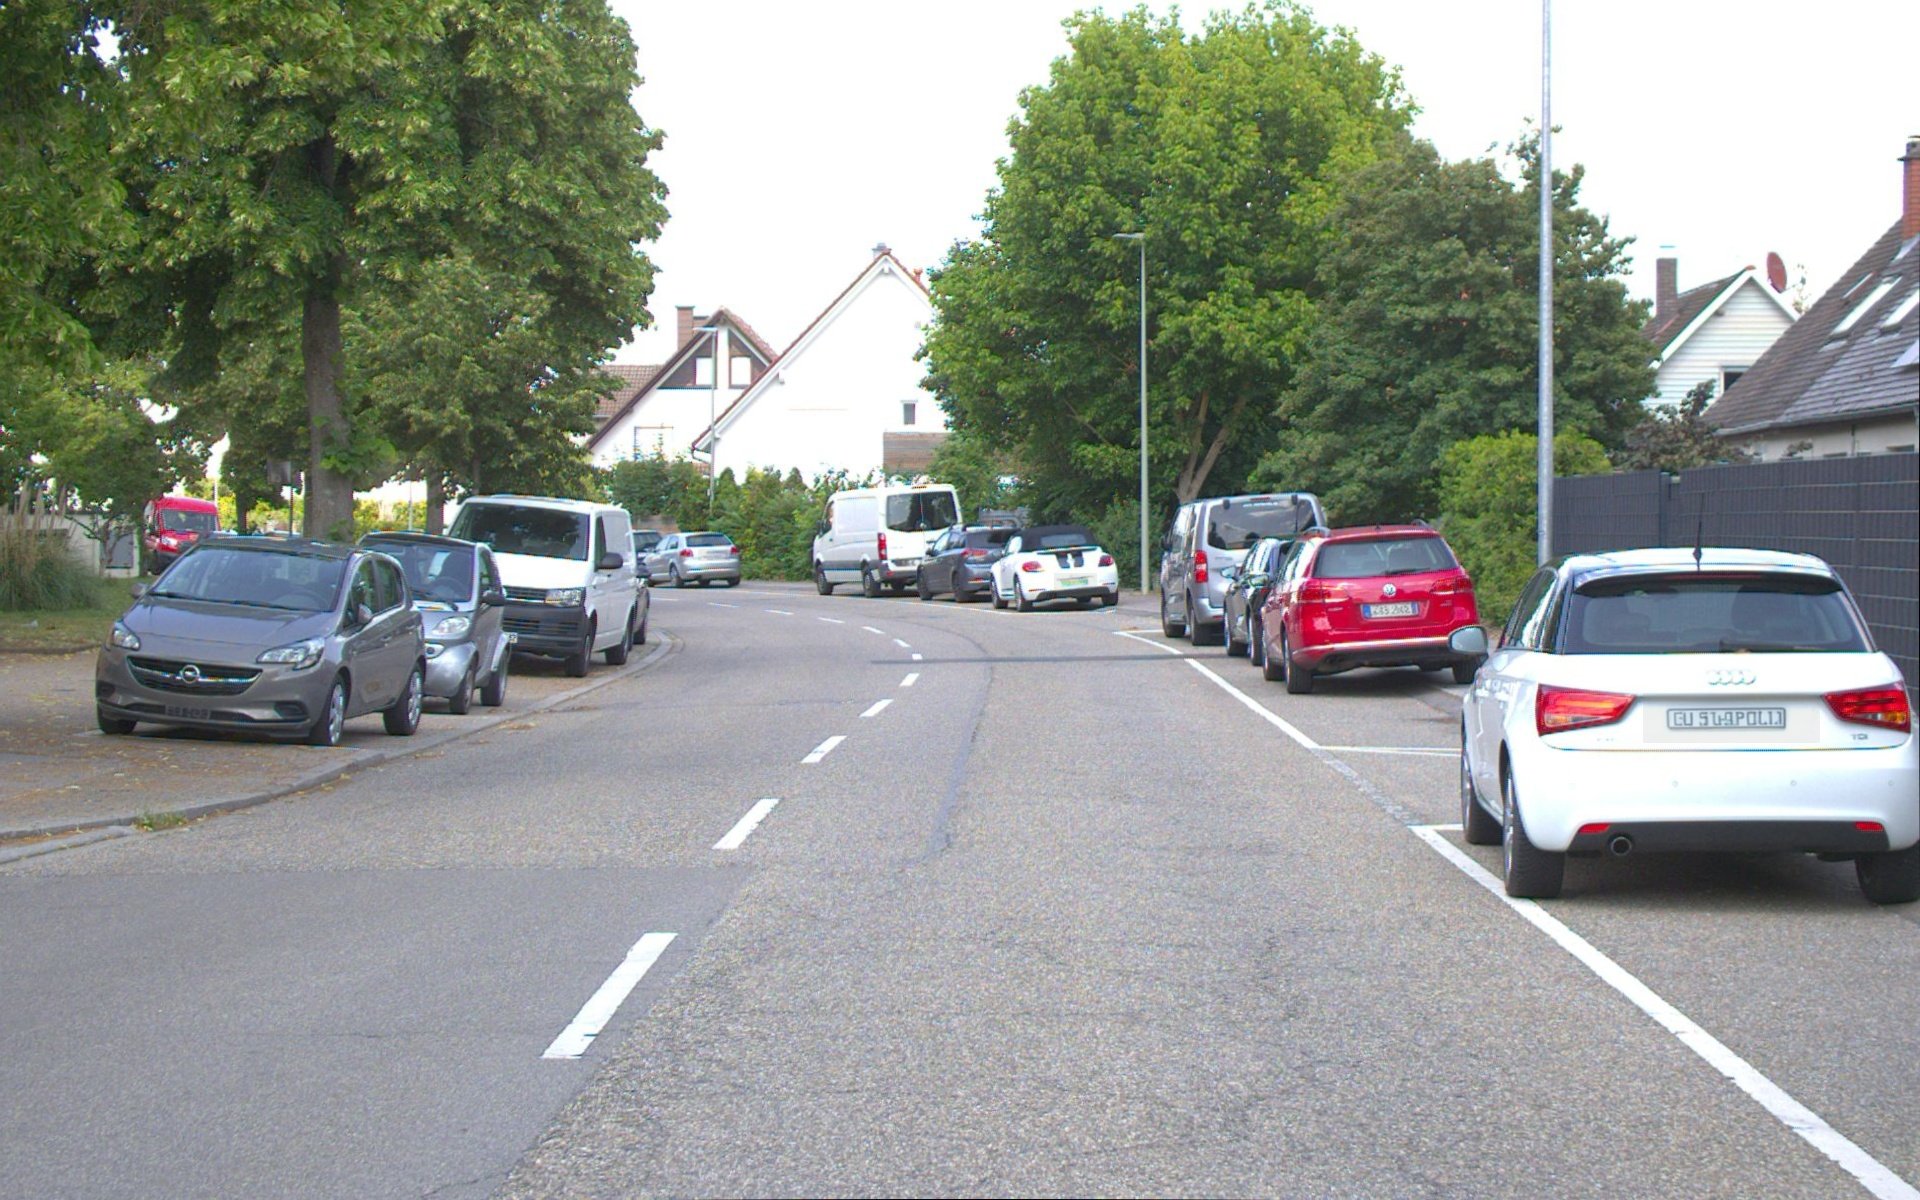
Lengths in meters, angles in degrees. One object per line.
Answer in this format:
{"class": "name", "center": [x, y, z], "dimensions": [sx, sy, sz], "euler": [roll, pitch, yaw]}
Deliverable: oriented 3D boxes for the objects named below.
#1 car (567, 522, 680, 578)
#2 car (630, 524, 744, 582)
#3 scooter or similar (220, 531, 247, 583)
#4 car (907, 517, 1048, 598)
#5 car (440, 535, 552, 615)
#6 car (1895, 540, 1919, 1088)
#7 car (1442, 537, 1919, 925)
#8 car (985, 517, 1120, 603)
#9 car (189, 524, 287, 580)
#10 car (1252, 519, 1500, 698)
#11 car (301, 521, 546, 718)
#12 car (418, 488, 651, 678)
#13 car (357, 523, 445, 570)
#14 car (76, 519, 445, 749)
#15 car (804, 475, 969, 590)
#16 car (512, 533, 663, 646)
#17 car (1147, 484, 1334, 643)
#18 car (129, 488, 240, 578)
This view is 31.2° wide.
{"class": "car", "center": [-9.272, -1.382, 94.399], "dimensions": [1.737, 1.504, 4.477], "euler": [0, 1, -24]}
{"class": "car", "center": [-7.120, -1.234, 89.229], "dimensions": [1.737, 1.452, 4.366], "euler": [0, 1, -22]}
{"class": "scooter or similar", "center": [-16.590, -0.994, 78.530], "dimensions": [0.419, 1.161, 1.141], "euler": [1, 1, -21]}
{"class": "car", "center": [0.317, -0.871, 68.911], "dimensions": [1.717, 1.580, 4.125], "euler": [0, 1, -16]}
{"class": "car", "center": [-9.044, -0.510, 66.797], "dimensions": [1.836, 1.434, 4.092], "euler": [2, 1, -11]}
{"class": "car", "center": [3.413, 0.632, 7.876], "dimensions": [1.581, 1.515, 3.755], "euler": [0, 1, 1]}
{"class": "car", "center": [3.128, 0.472, 15.216], "dimensions": [1.721, 1.481, 3.748], "euler": [0, 1, 4]}
{"class": "car", "center": [1.629, -0.743, 62.274], "dimensions": [1.739, 1.507, 4.460], "euler": [0, 1, -8]}
{"class": "car", "center": [-20.541, -1.367, 97.660], "dimensions": [1.786, 1.452, 4.436], "euler": [4, -1, -23]}
{"class": "car", "center": [3.864, 0.024, 32.631], "dimensions": [1.850, 1.574, 4.733], "euler": [0, 1, 1]}
{"class": "car", "center": [-4.865, 0.126, 31.613], "dimensions": [1.517, 1.544, 3.756], "euler": [5, 2, 0]}
{"class": "car", "center": [-4.853, -0.247, 39.938], "dimensions": [1.879, 2.002, 5.322], "euler": [2, 1, 1]}
{"class": "car", "center": [-18.716, -1.797, 115.054], "dimensions": [1.794, 1.518, 3.974], "euler": [0, 1, -26]}
{"class": "car", "center": [-5.072, 0.238, 25.429], "dimensions": [1.684, 1.481, 3.983], "euler": [3, 0, 3]}
{"class": "car", "center": [-1.672, -1.484, 75.449], "dimensions": [2.117, 2.432, 5.896], "euler": [0, 1, -17]}
{"class": "car", "center": [-5.142, -0.186, 47.952], "dimensions": [1.760, 1.484, 4.505], "euler": [1, 1, -2]}
{"class": "car", "center": [3.668, -0.510, 45.744], "dimensions": [1.842, 1.938, 4.876], "euler": [-2, 1, -2]}
{"class": "car", "center": [-23.399, -2.043, 103.536], "dimensions": [2.063, 2.492, 5.842], "euler": [4, 0, -23]}
